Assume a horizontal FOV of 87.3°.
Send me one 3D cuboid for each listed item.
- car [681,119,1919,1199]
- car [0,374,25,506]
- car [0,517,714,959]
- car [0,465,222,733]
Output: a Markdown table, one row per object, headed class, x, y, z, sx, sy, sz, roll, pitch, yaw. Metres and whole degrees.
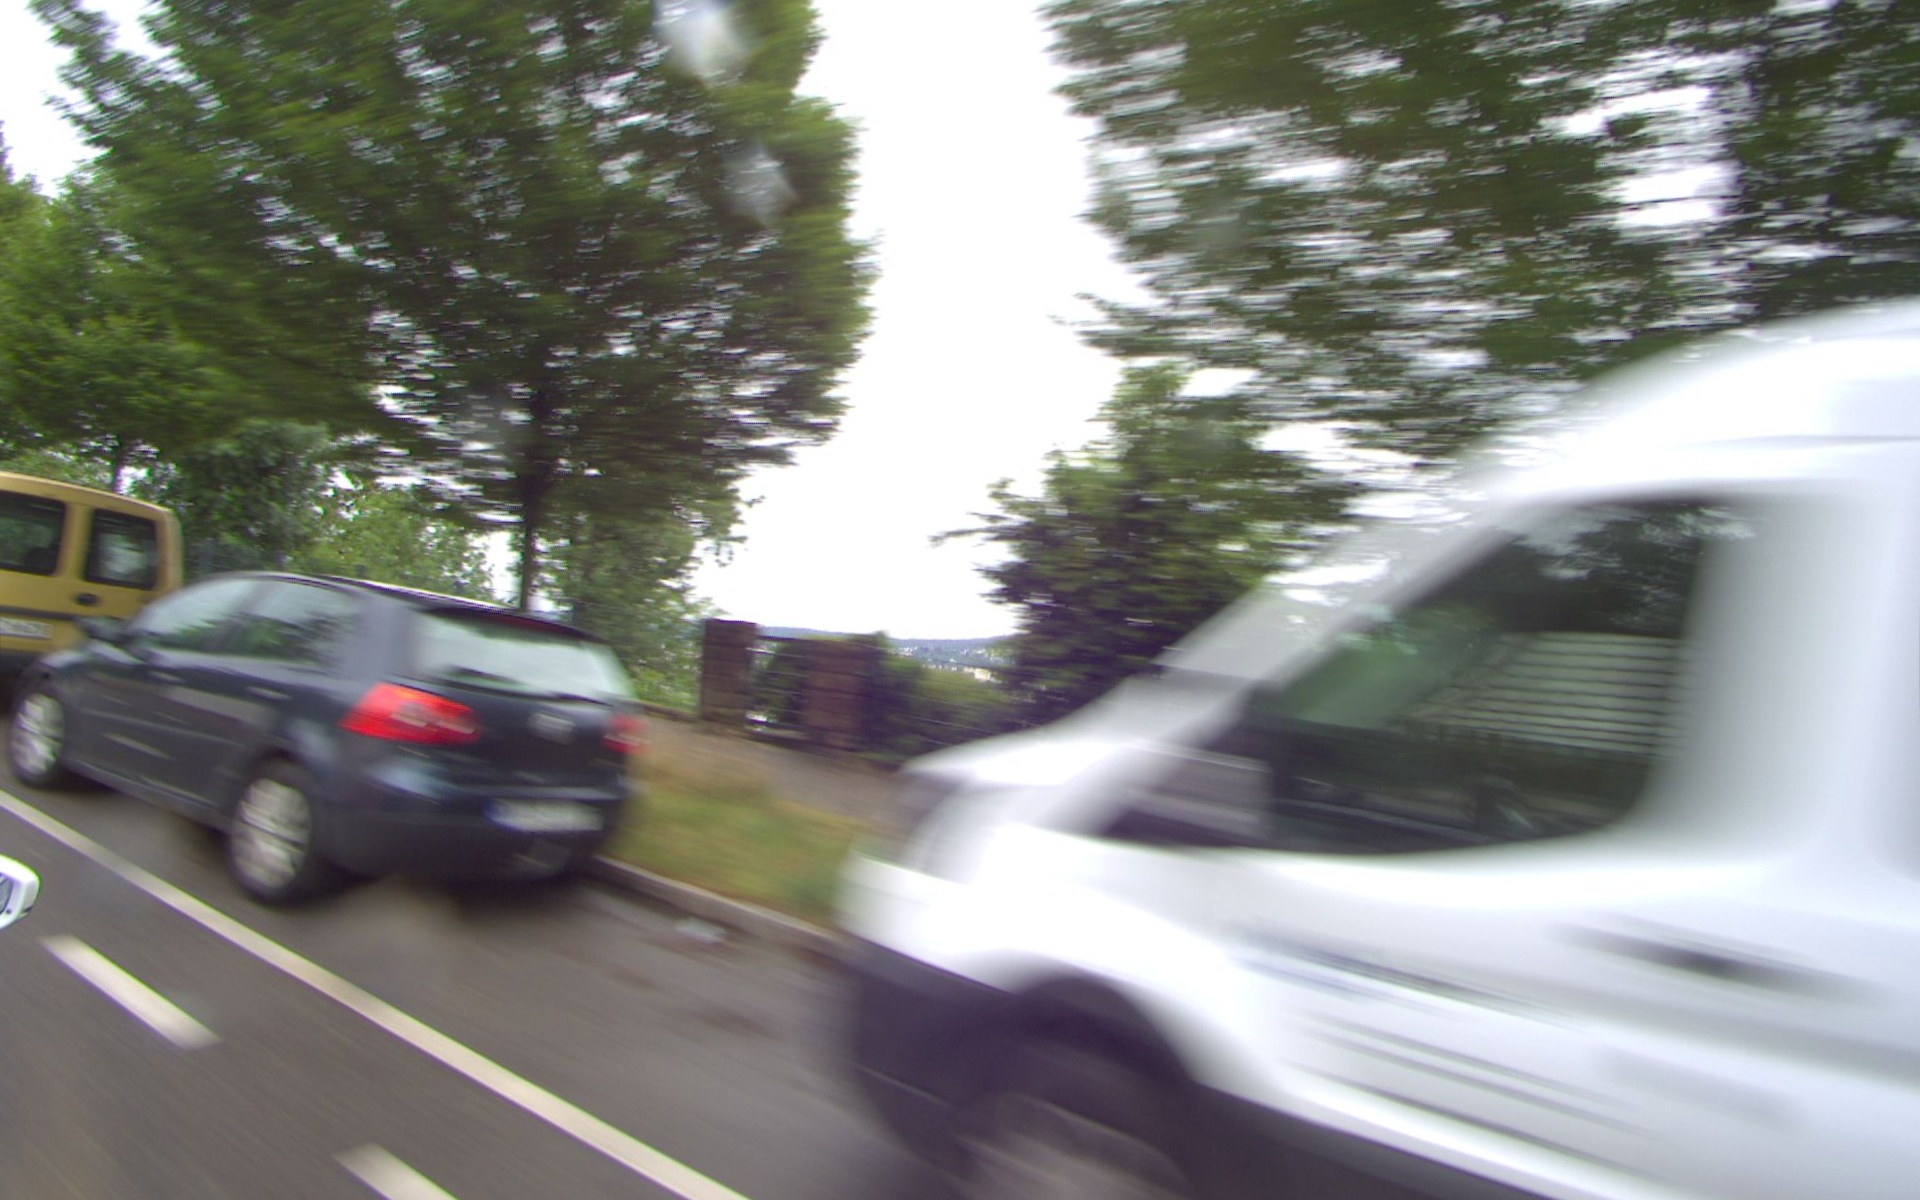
| class | x | y | z | sx | sy | sz | roll | pitch | yaw |
| --- | --- | --- | --- | --- | --- | --- | --- | --- | --- |
| car | 2.512 | 0.721 | 2.068 | 5.933 | 2.519 | 2.181 | 7 | -4 | 32 |
| car | -13.455 | -1.440 | 11.508 | 5.671 | 2.917 | 2.132 | 7 | -3 | 30 |
| car | -3.620 | 0.577 | 5.705 | 4.152 | 1.473 | 1.678 | 7 | -5 | 30 |
| car | -8.362 | -0.191 | 8.485 | 4.204 | 1.803 | 1.734 | 7 | -5 | 31 |
